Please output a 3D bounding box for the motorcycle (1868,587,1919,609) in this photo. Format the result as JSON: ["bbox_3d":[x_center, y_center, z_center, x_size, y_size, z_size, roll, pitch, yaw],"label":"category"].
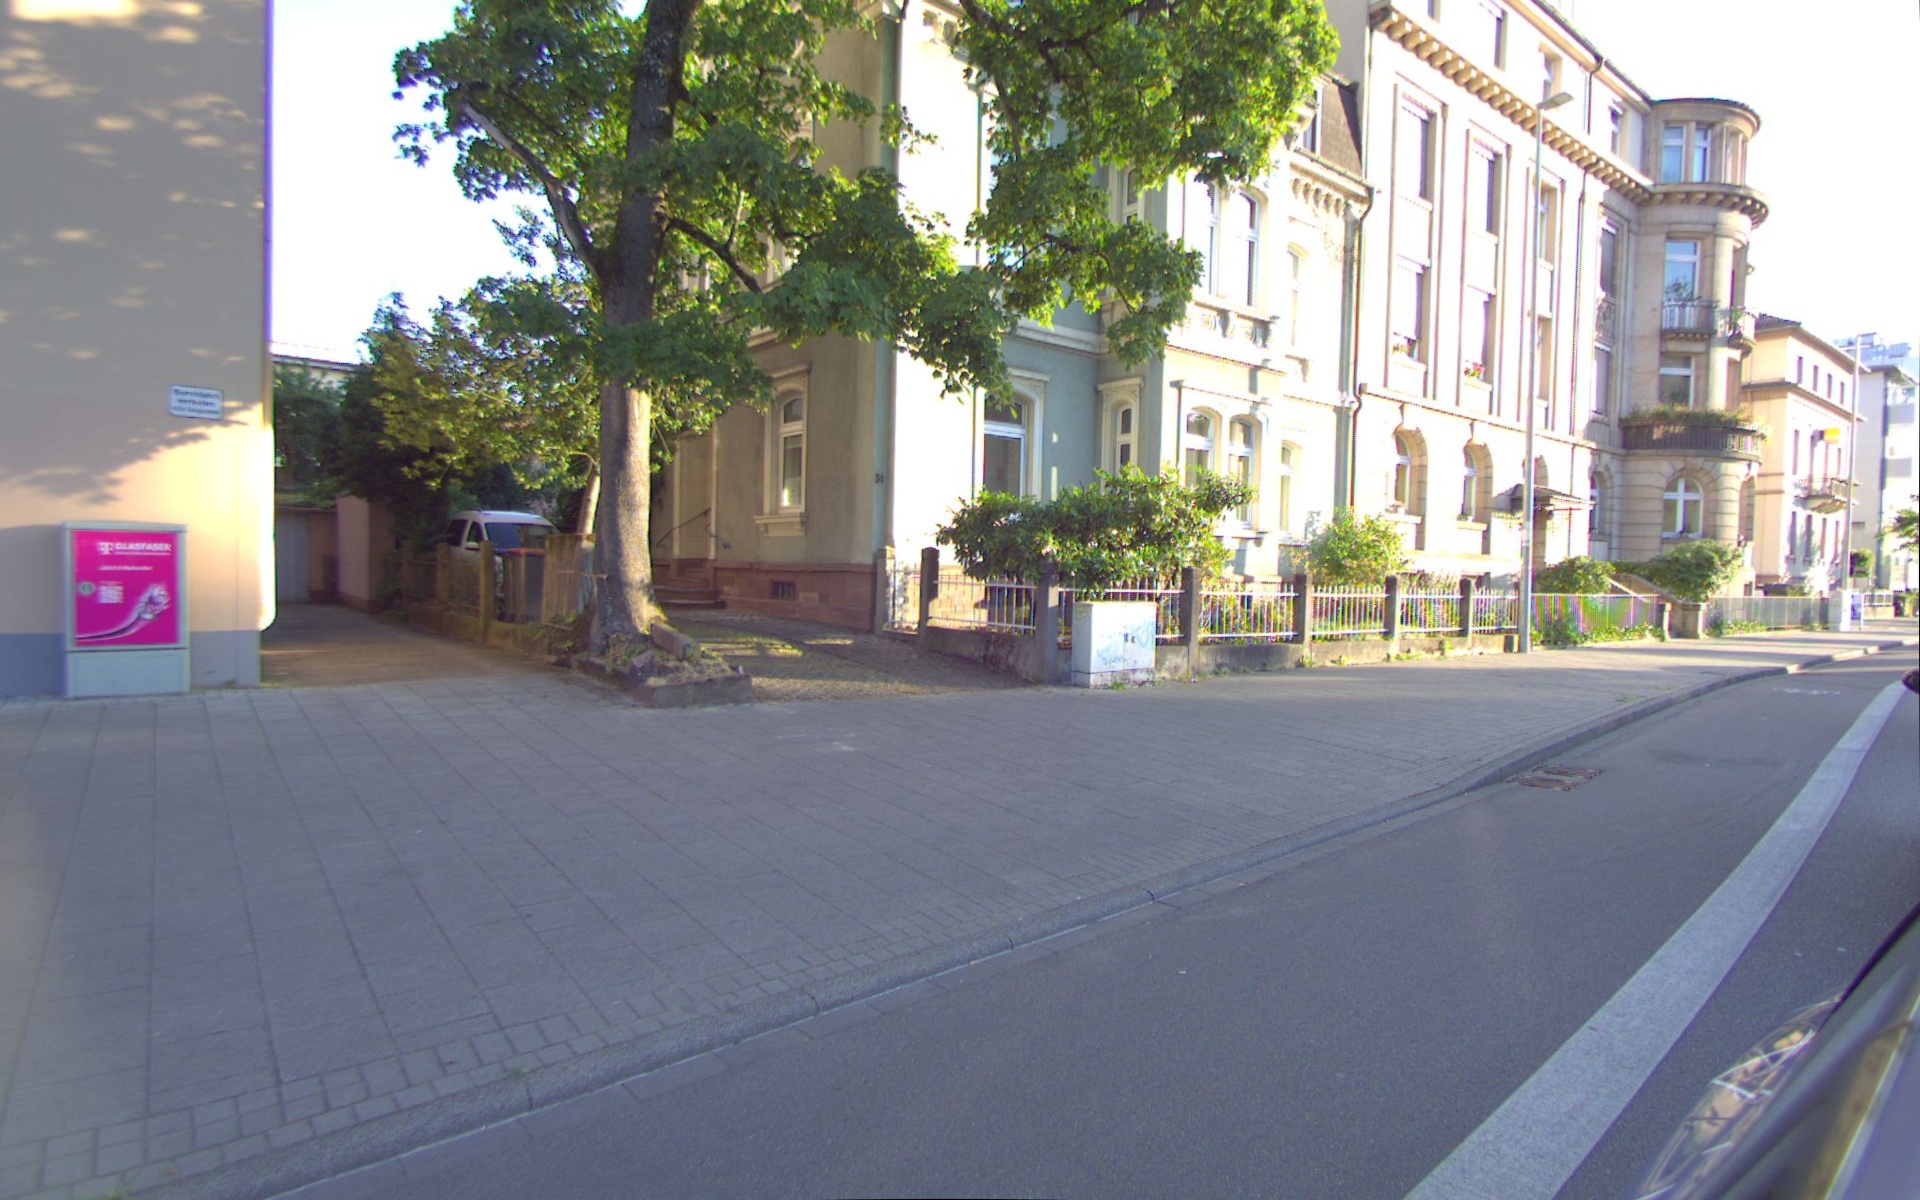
[{"bbox_3d":[48.292,-0.116,52.348,0.564,1.110,1.851,0,1,-33],"label":"motorcycle"}]

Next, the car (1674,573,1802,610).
[{"bbox_3d":[34.035,-0.412,44.340,1.903,1.499,4.098,0,2,-38],"label":"car"}]

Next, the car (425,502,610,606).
[{"bbox_3d":[-8.660,-0.930,19.580,1.795,1.778,4.513,1,3,-44],"label":"car"}]
